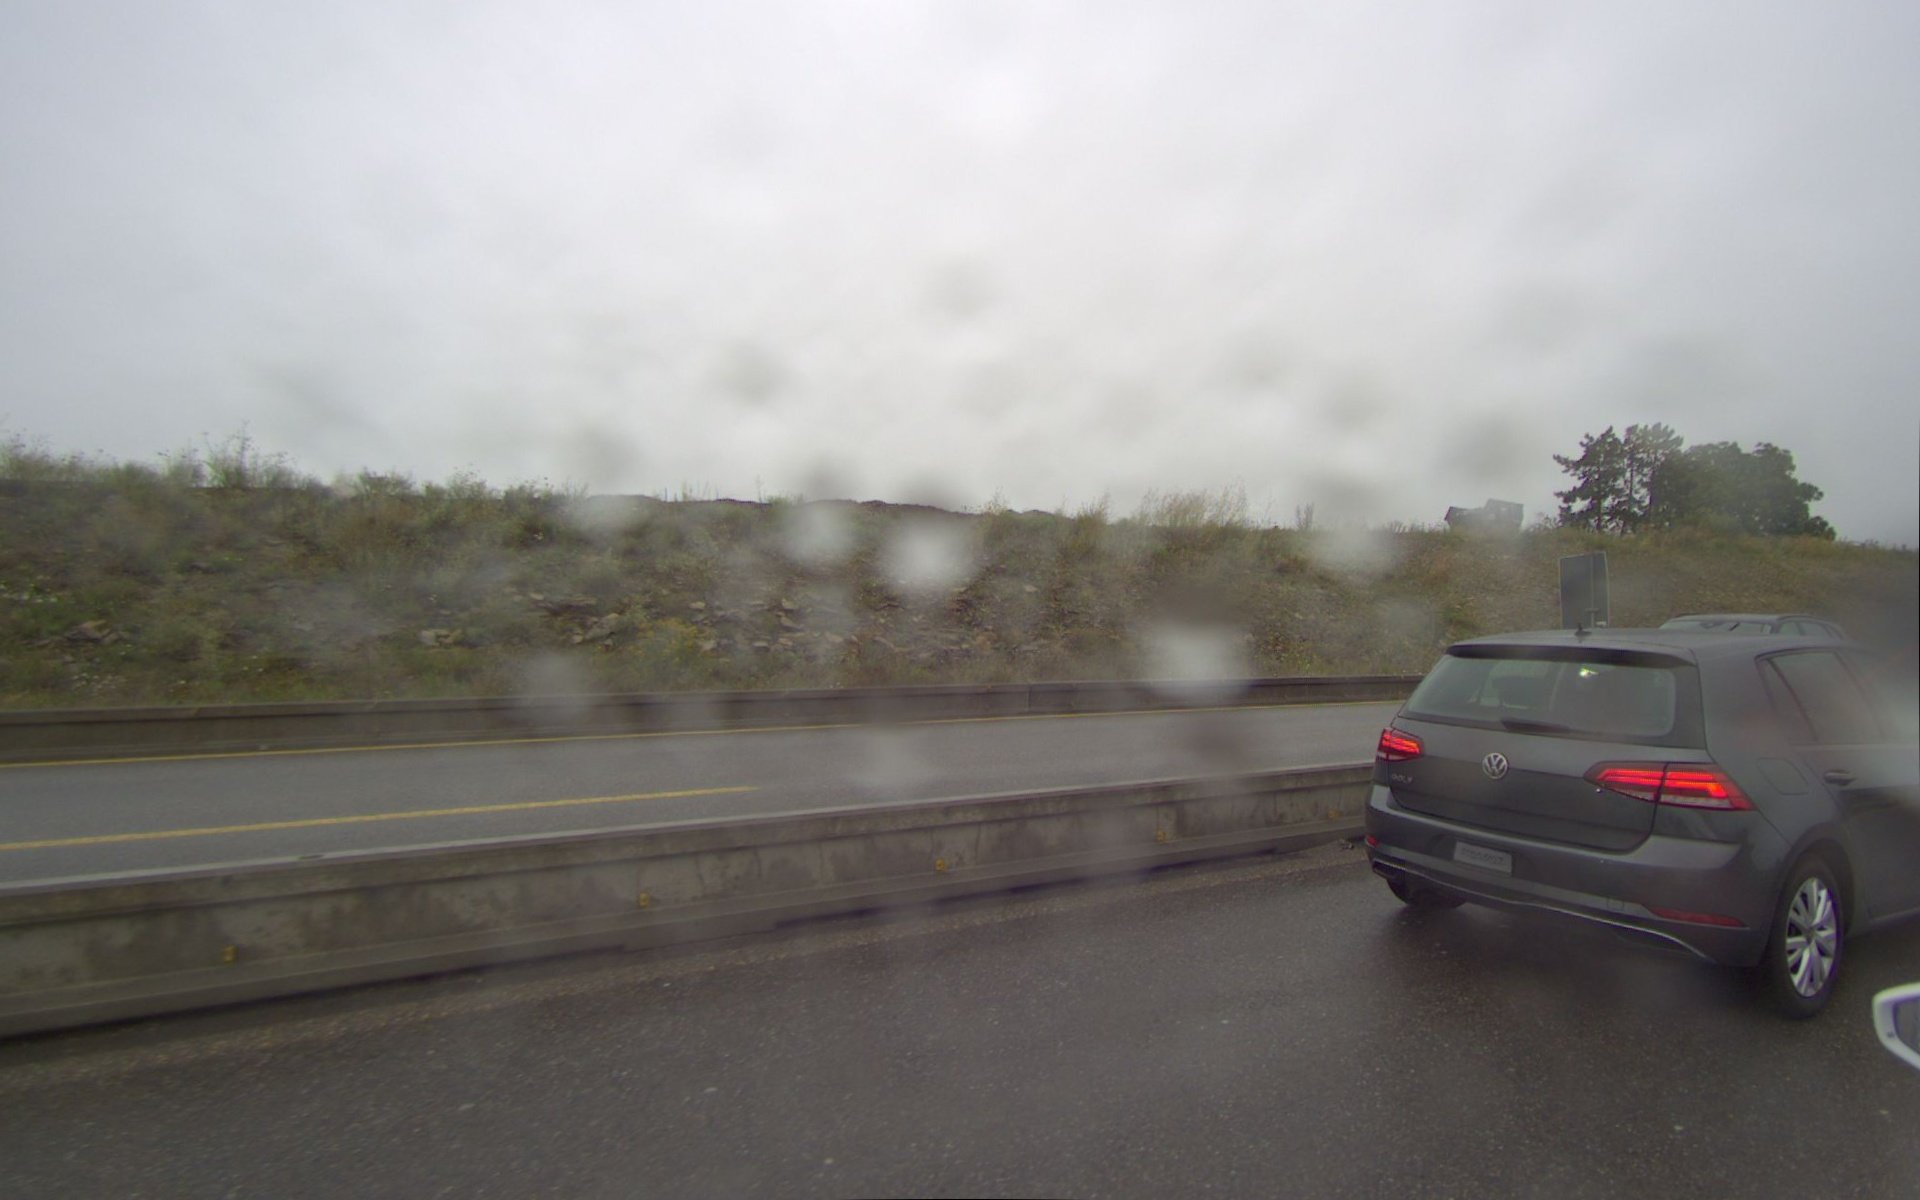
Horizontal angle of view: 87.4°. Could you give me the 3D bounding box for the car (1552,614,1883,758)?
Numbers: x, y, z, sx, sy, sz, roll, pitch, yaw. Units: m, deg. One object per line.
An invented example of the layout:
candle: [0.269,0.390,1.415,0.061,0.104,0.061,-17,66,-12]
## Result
car: [10.090,1.039,13.288,4.845,1.614,1.803,2,-2,-31]

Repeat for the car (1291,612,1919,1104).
car: [3.746,0.872,4.944,4.317,1.526,1.606,2,-2,-31]
